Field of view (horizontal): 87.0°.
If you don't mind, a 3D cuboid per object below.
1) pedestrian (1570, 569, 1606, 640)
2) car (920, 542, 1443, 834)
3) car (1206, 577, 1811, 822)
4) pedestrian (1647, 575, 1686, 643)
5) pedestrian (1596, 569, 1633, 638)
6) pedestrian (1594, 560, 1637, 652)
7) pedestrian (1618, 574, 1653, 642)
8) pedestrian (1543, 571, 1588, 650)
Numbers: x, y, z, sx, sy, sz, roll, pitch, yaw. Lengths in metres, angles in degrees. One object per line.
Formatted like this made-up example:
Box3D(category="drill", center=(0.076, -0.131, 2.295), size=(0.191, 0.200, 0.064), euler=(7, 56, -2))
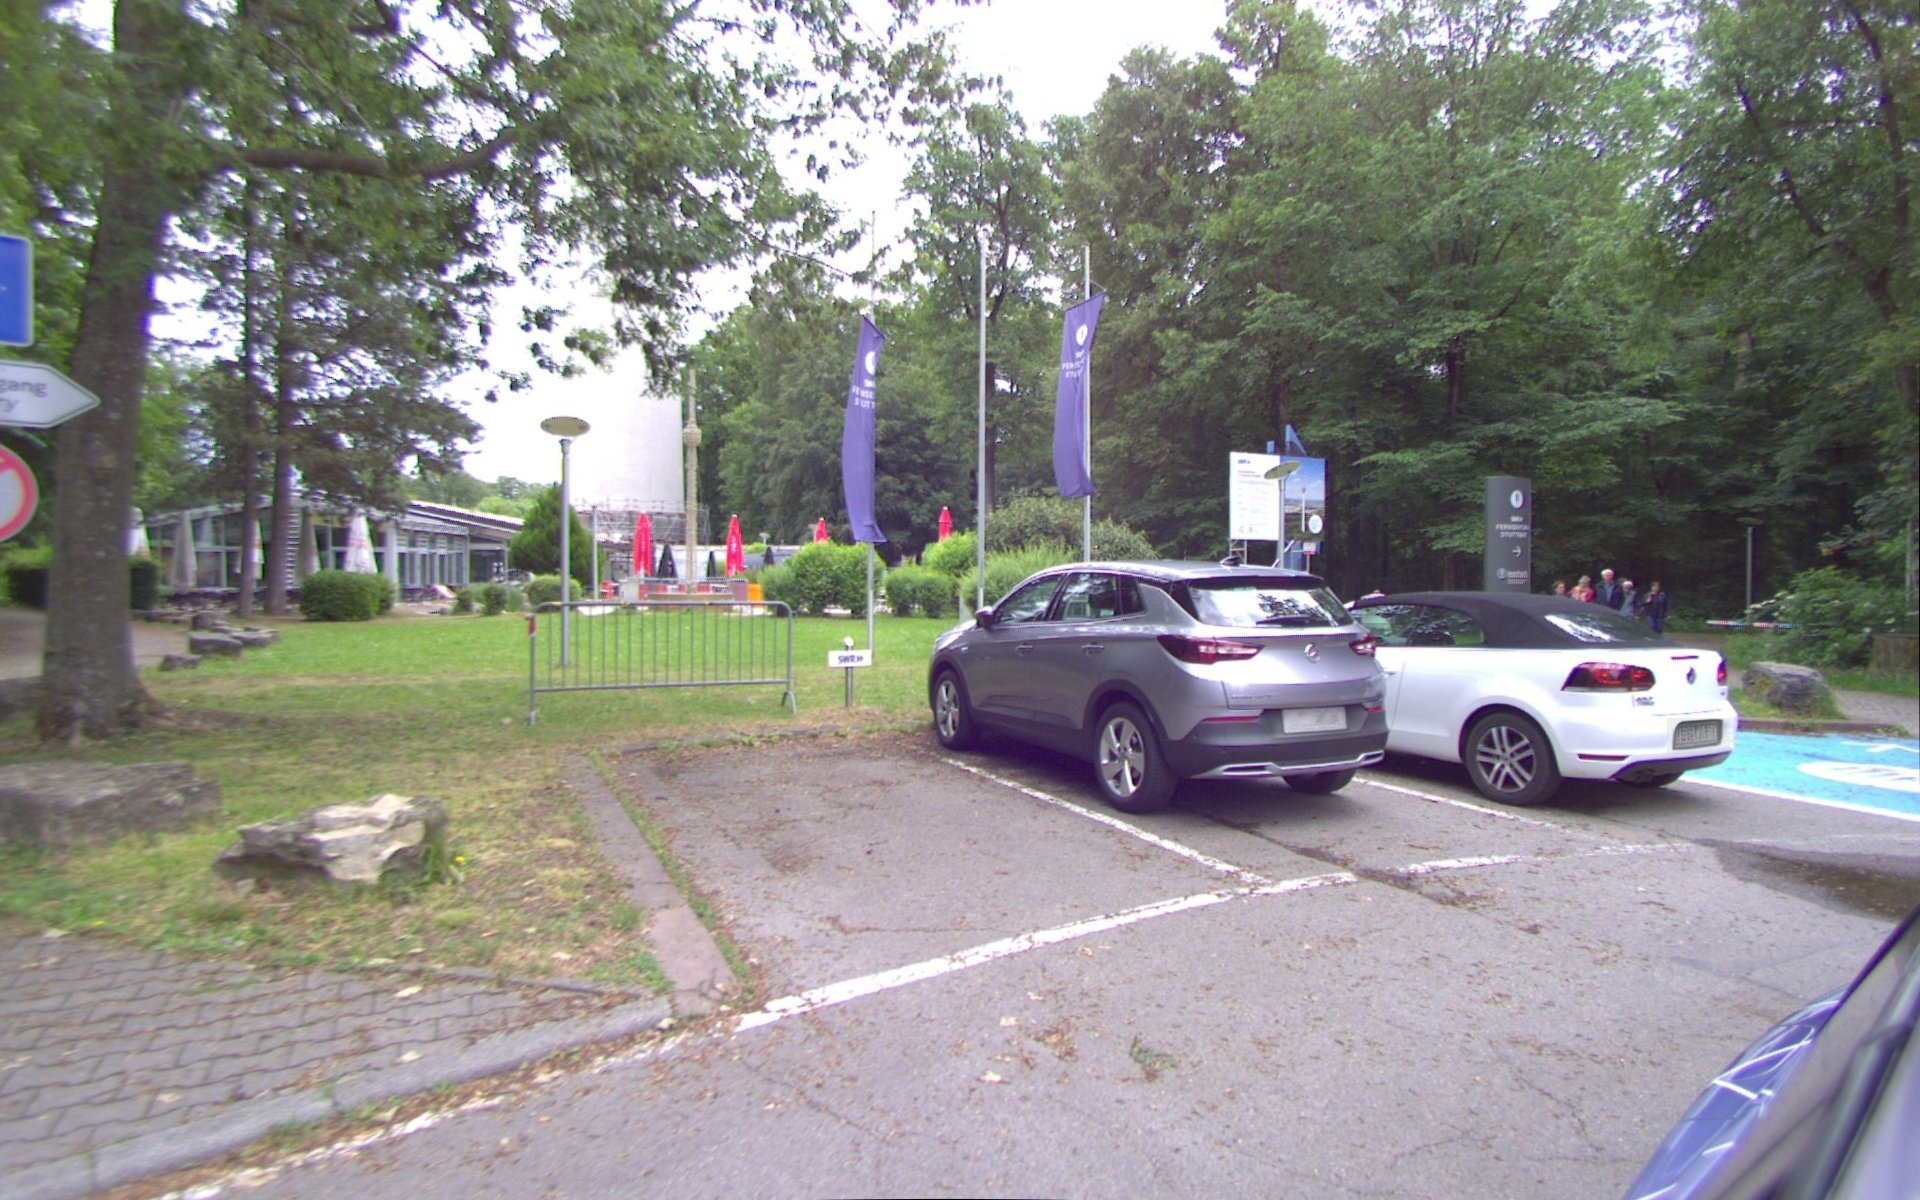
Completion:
Box3D(category="pedestrian", center=(16.060, 0.105, 25.875), size=(0.676, 1.784, 0.600), euler=(1, 1, 24))
Box3D(category="car", center=(1.335, 0.433, 7.777), size=(1.860, 1.604, 4.007), euler=(0, 1, -25))
Box3D(category="car", center=(4.049, 0.553, 8.250), size=(1.860, 1.446, 4.007), euler=(0, 1, -25))
Box3D(category="pedestrian", center=(18.047, 0.212, 25.875), size=(0.674, 1.694, 0.657), euler=(1, 1, 23))
Box3D(category="pedestrian", center=(17.323, 0.072, 26.804), size=(0.674, 1.790, 0.708), euler=(1, 1, 23))
Box3D(category="pedestrian", center=(14.223, 0.114, 21.975), size=(0.728, 1.940, 0.661), euler=(1, 1, 29))
Box3D(category="pedestrian", center=(16.951, 0.193, 25.397), size=(0.602, 1.694, 0.600), euler=(1, 1, 23))
Box3D(category="pedestrian", center=(12.991, 0.208, 21.729), size=(0.772, 1.654, 0.631), euler=(1, 1, 29))
